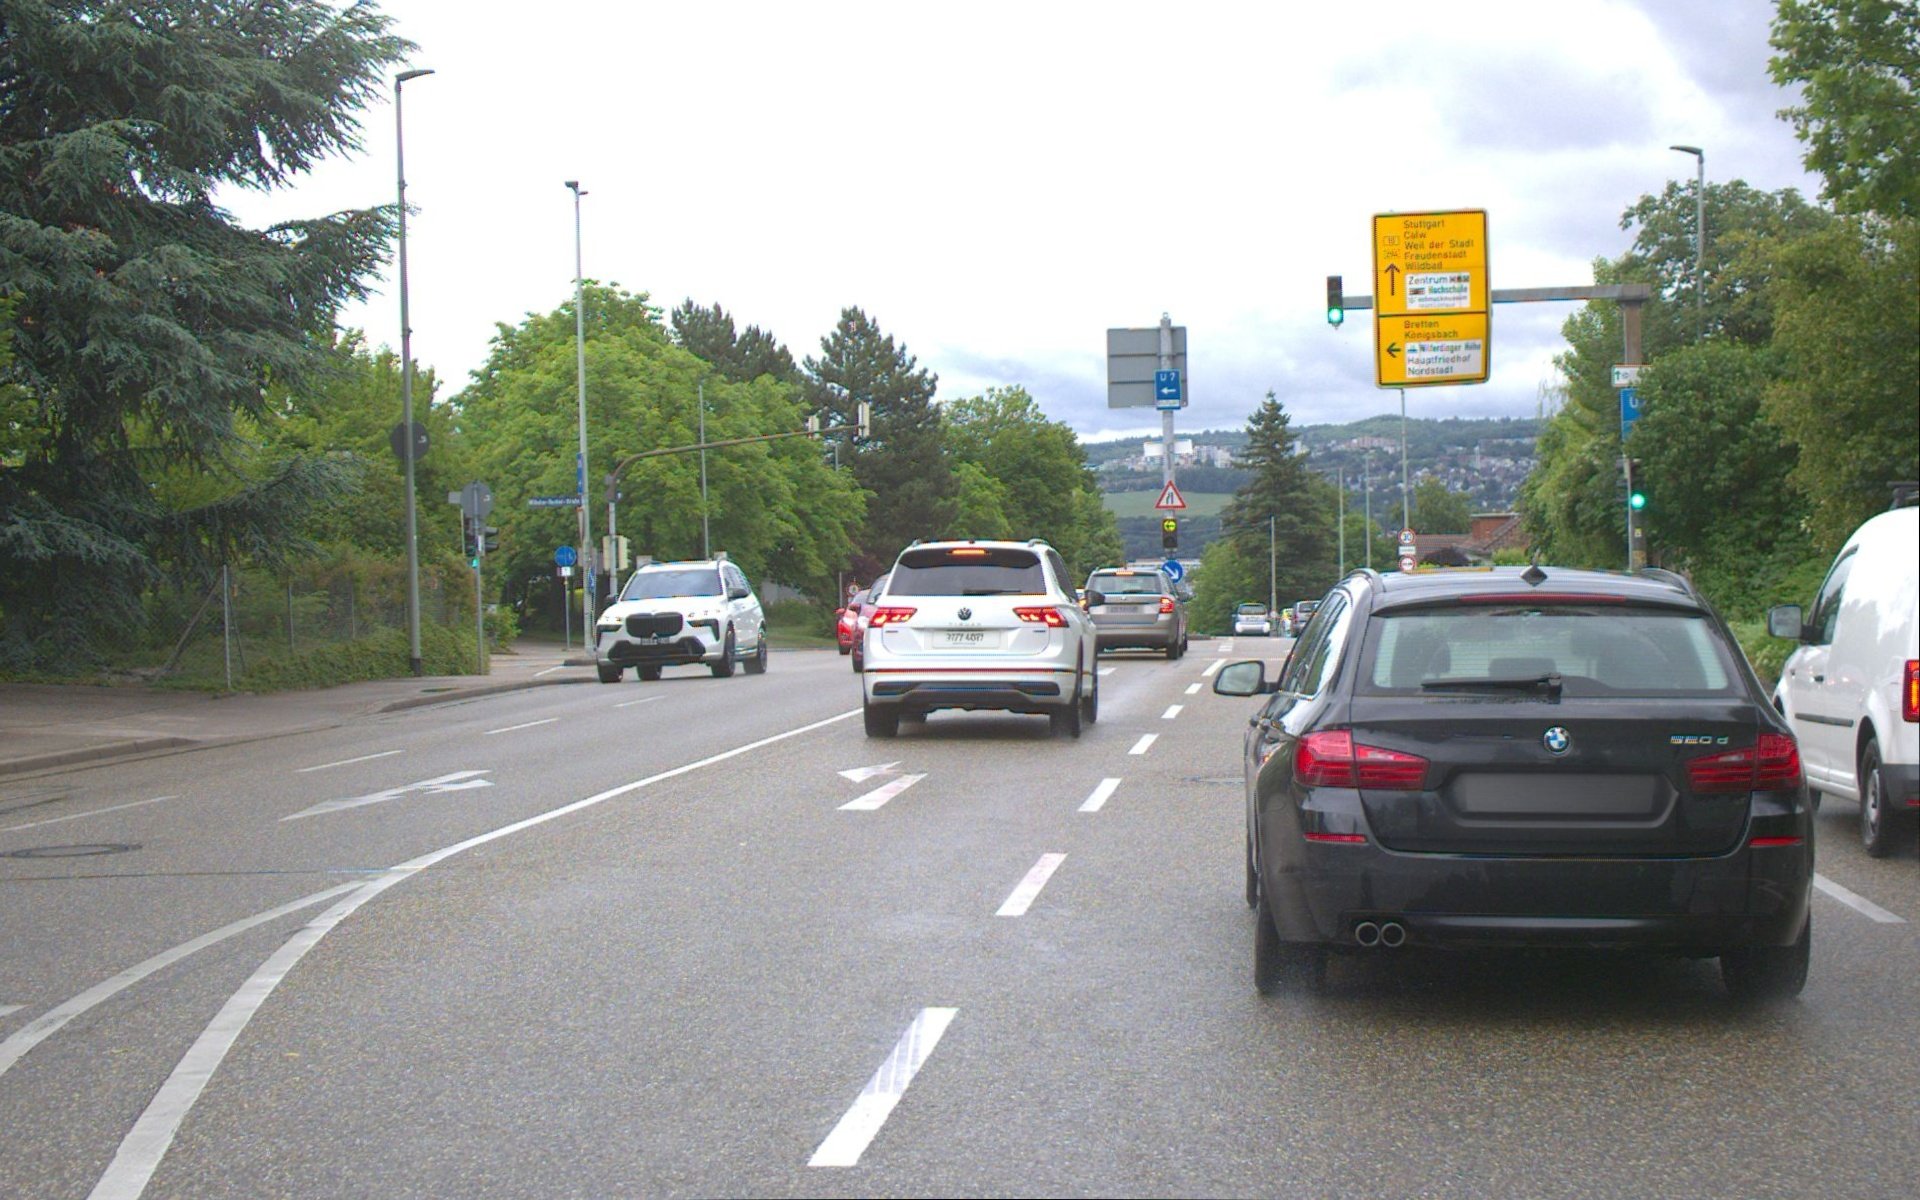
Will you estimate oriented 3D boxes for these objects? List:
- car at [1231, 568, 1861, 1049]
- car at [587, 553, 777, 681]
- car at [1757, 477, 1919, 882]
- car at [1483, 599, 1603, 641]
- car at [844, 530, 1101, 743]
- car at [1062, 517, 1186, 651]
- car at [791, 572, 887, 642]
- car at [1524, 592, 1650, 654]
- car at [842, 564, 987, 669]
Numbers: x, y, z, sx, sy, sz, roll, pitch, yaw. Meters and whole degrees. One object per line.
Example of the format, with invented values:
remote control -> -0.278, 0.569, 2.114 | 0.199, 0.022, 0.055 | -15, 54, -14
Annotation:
car -> 1.982, 0.616, 12.552 | 1.899, 1.436, 3.999 | 1, 1, 6
car -> -4.184, 0.220, 52.566 | 1.917, 1.757, 5.142 | -3, 0, 6
car -> 5.406, 0.313, 18.178 | 1.765, 1.871, 3.805 | 0, 3, 4
car -> 19.904, 0.679, 117.442 | 3.988, 1.372, 1.584 | 0, 0, 9
car -> 0.183, 0.259, 29.952 | 1.869, 1.668, 4.000 | 0, 2, 6
car -> 2.677, -0.294, 55.437 | 1.811, 2.080, 3.849 | 0, 1, 6
car -> -2.684, 0.138, 76.895 | 1.632, 1.451, 3.701 | -3, 0, 5
car -> 20.397, 0.735, 112.000 | 3.988, 1.950, 1.584 | 0, 0, 9
car -> -0.637, 0.220, 51.259 | 1.681, 1.414, 3.840 | -3, 0, 6
